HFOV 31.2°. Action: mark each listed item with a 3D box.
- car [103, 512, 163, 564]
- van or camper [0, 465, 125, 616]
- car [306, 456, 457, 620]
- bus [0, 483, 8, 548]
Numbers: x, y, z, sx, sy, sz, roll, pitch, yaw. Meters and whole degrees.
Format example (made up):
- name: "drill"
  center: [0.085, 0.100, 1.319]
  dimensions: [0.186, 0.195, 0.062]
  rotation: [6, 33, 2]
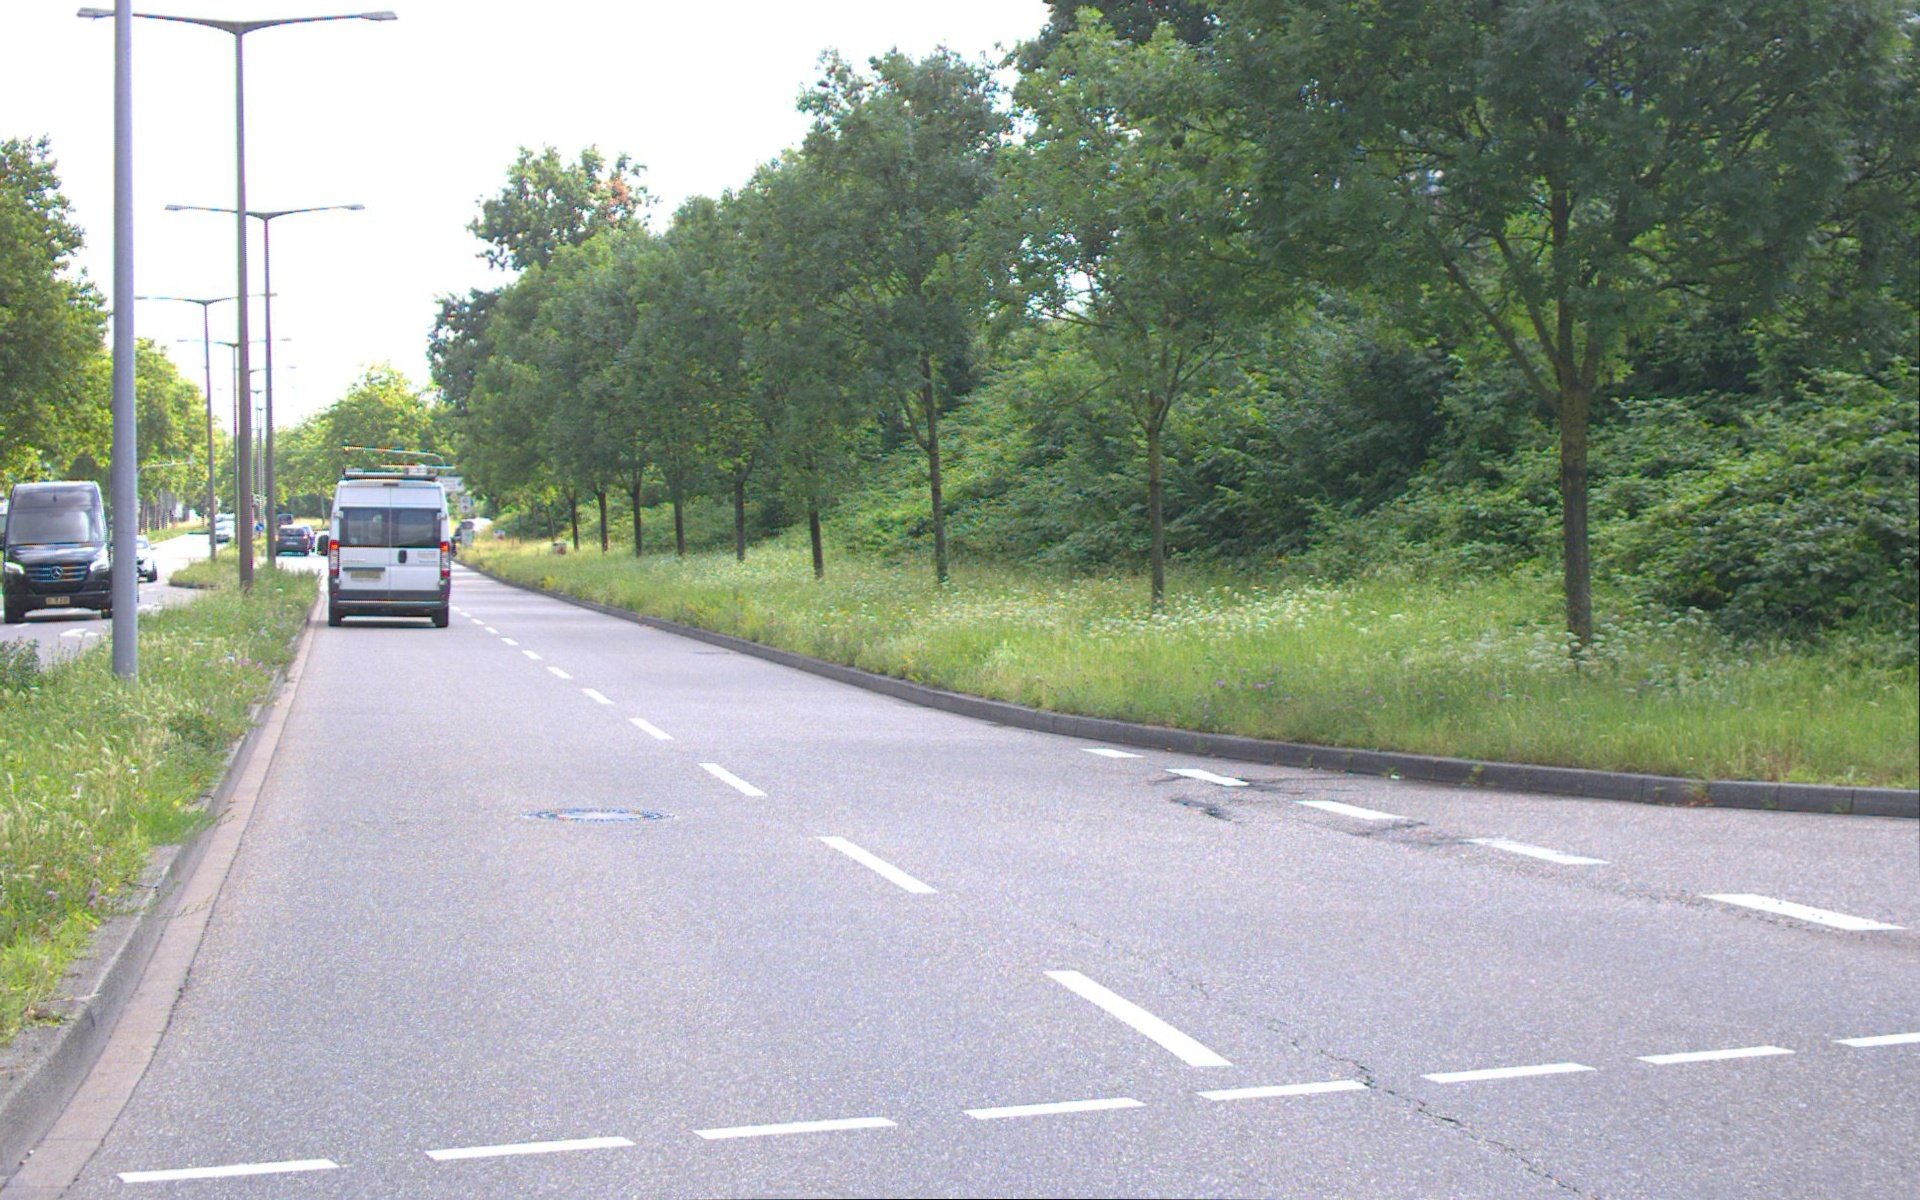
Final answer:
- name: "car"
  center: [-28.379, -2.138, 118.081]
  dimensions: [1.813, 1.634, 4.353]
  rotation: [-3, 2, -12]
- name: "van or camper"
  center: [-17.056, -1.125, 65.174]
  dimensions: [2.104, 2.650, 6.720]
  rotation: [-2, 1, -12]
- name: "car"
  center: [-10.059, -1.111, 59.500]
  dimensions: [2.197, 2.717, 4.933]
  rotation: [0, 2, -14]
- name: "bus"
  center: [-54.354, -3.993, 173.511]
  dimensions: [12.307, 3.263, 3.117]
  rotation: [-2, 1, 17]
